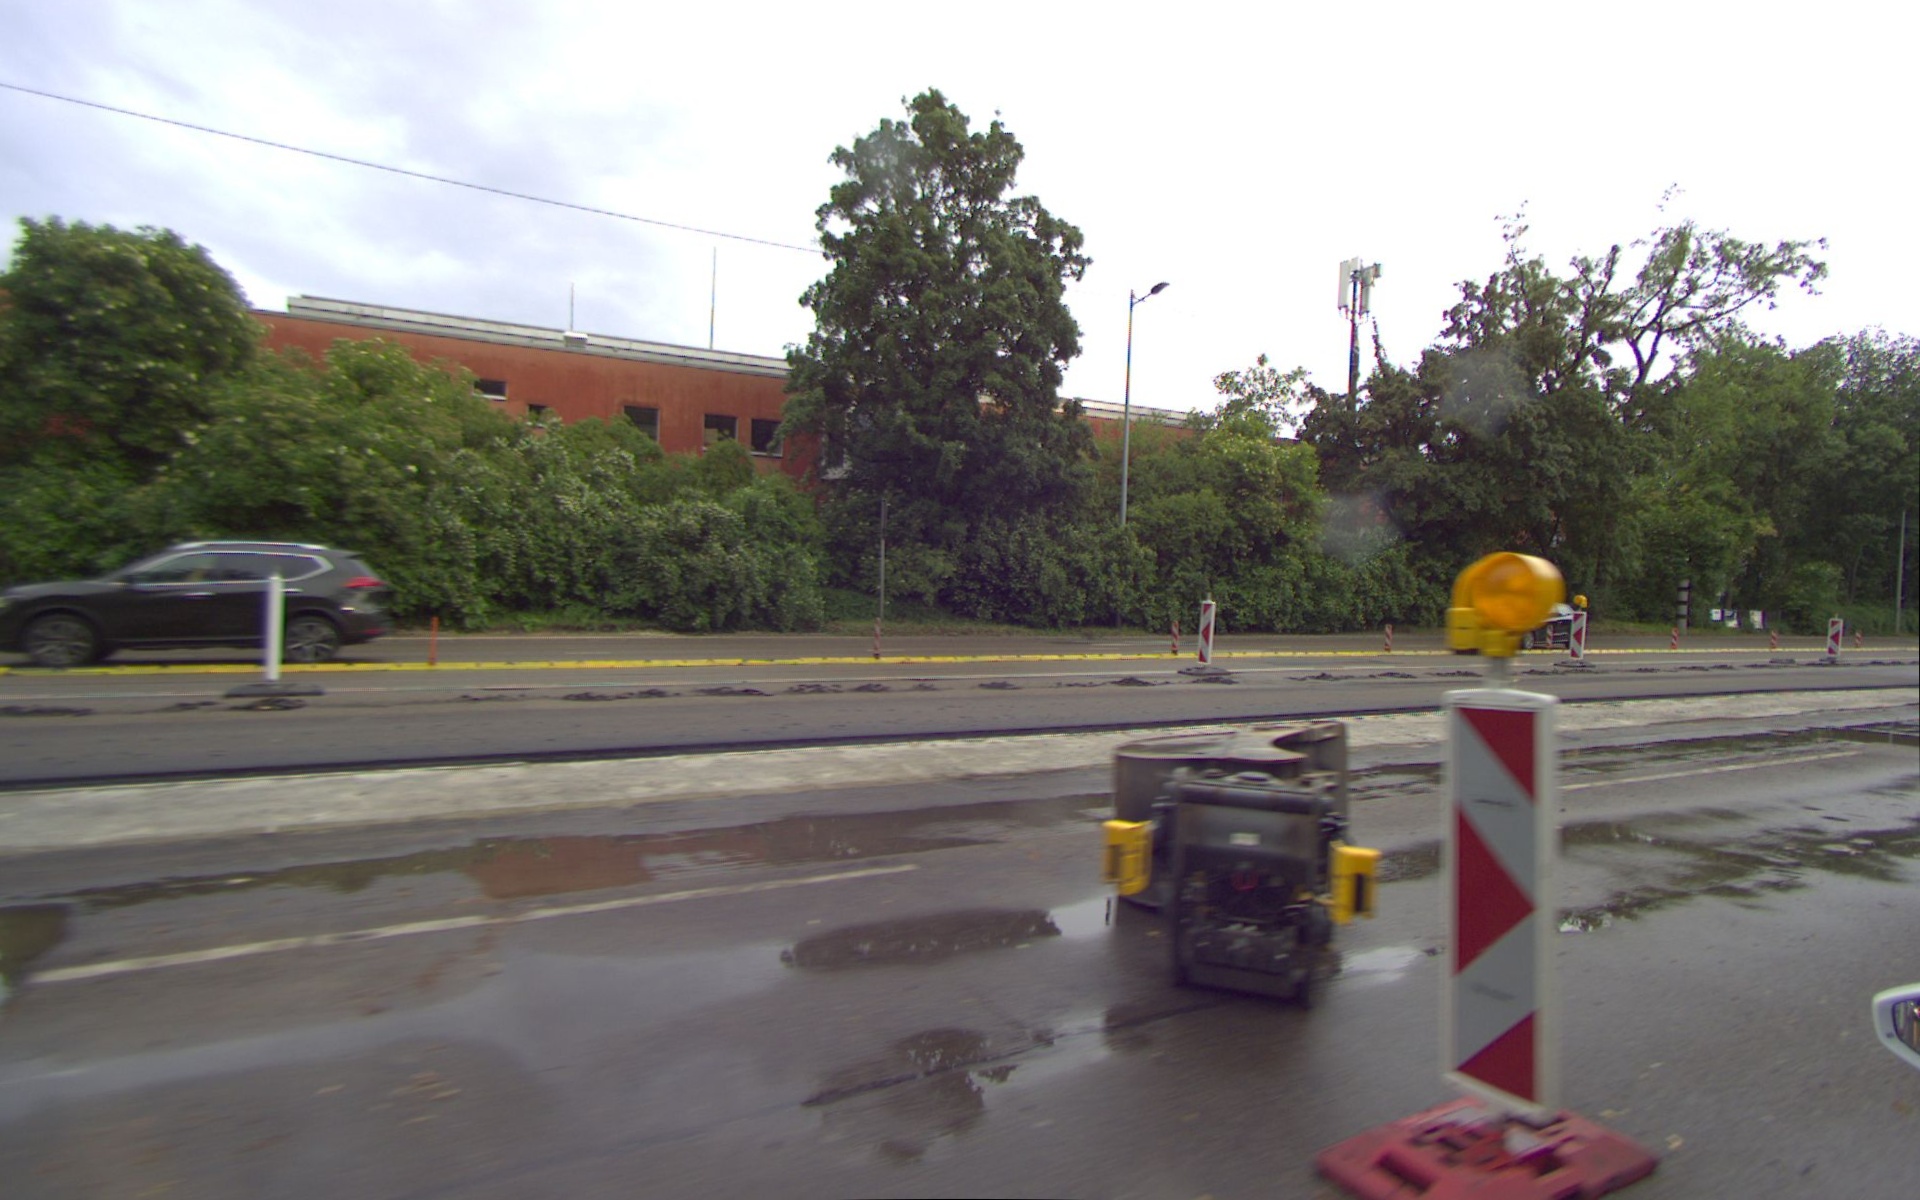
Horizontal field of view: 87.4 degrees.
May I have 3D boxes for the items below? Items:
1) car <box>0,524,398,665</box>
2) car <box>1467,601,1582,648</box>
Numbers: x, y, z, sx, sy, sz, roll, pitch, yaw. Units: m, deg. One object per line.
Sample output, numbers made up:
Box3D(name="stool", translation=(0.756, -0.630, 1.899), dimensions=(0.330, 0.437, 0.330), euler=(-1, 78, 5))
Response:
Box3D(name="car", translation=(-10.528, -0.037, 14.228), dimensions=(4.441, 1.745, 1.726), euler=(2, 1, -30))
Box3D(name="car", translation=(17.470, 0.761, 31.066), dimensions=(3.818, 1.350, 1.440), euler=(1, 1, -32))
